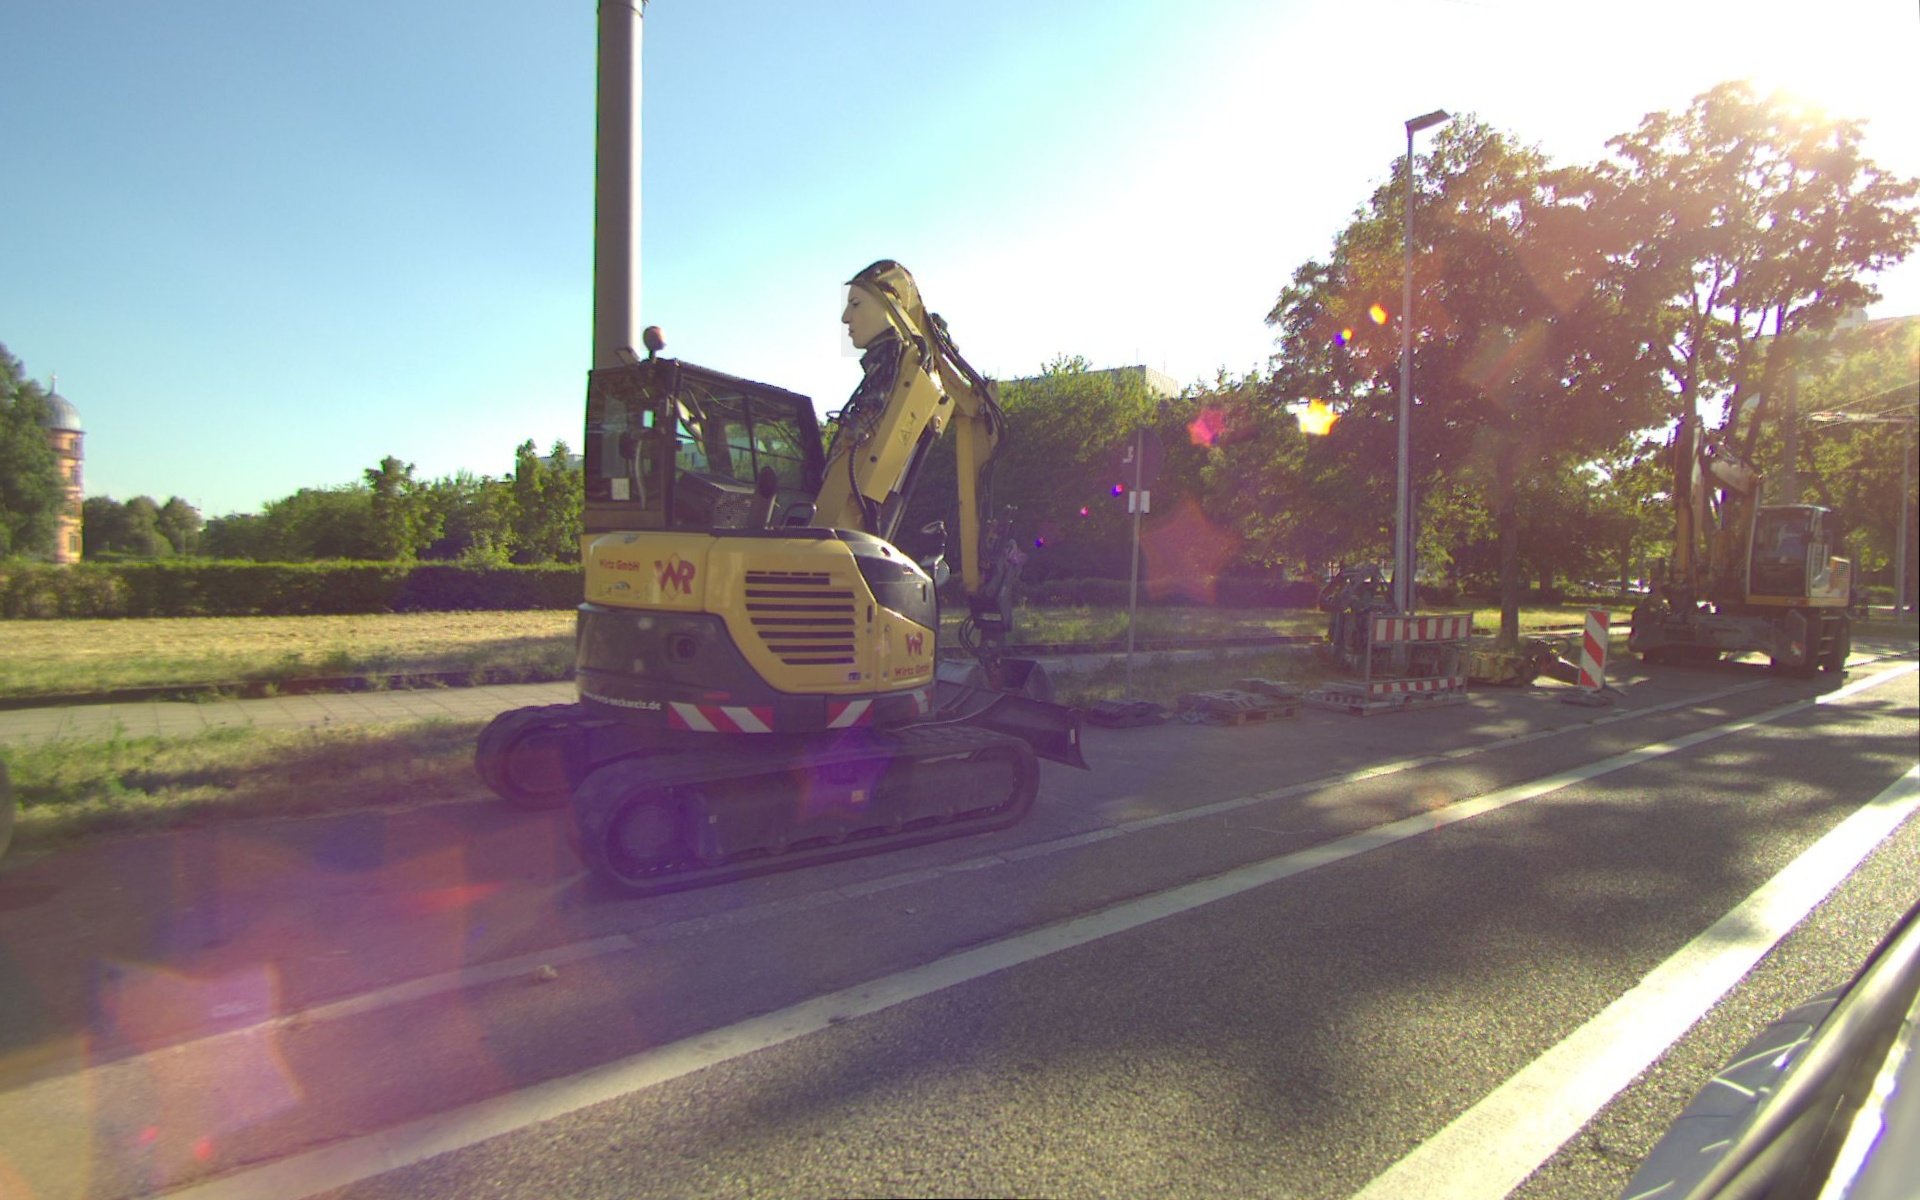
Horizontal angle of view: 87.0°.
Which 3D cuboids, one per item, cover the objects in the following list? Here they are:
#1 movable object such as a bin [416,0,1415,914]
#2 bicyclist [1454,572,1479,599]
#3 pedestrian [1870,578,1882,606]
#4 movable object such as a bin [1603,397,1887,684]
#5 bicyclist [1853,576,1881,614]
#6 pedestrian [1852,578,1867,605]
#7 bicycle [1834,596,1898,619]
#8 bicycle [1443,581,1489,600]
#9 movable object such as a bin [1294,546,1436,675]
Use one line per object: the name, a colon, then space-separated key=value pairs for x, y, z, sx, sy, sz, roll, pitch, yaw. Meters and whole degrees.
movable object such as a bin: x=0.215 y=-0.802 z=8.090 sx=7.468 sy=4.024 sz=3.345 roll=-1 pitch=4 yaw=-42
bicyclist: x=28.737 y=-0.830 z=57.471 sx=1.199 sy=1.559 sz=0.611 roll=0 pitch=1 yaw=36
pedestrian: x=61.866 y=-0.547 z=68.348 sx=0.555 sy=1.864 sz=0.501 roll=0 pitch=2 yaw=-42
movable object such as a bin: x=15.721 y=-1.099 z=20.035 sx=7.468 sy=4.665 sz=2.920 roll=-1 pitch=4 yaw=-42
bicyclist: x=41.137 y=-0.220 z=45.896 sx=0.707 sy=1.735 sz=0.747 roll=-1 pitch=-1 yaw=-29
pedestrian: x=61.372 y=-0.582 z=69.050 sx=0.555 sy=1.864 sz=0.645 roll=0 pitch=2 yaw=-42
bicycle: x=41.117 y=0.346 z=45.955 sx=0.707 sy=0.991 sz=2.065 roll=-1 pitch=0 yaw=-28
bicycle: x=28.713 y=-0.522 z=57.485 sx=2.276 sy=1.069 sz=0.611 roll=0 pitch=1 yaw=36
movable object such as a bin: x=5.977 y=0.114 z=14.981 sx=1.278 sy=1.687 sz=1.323 roll=0 pitch=7 yaw=-36
